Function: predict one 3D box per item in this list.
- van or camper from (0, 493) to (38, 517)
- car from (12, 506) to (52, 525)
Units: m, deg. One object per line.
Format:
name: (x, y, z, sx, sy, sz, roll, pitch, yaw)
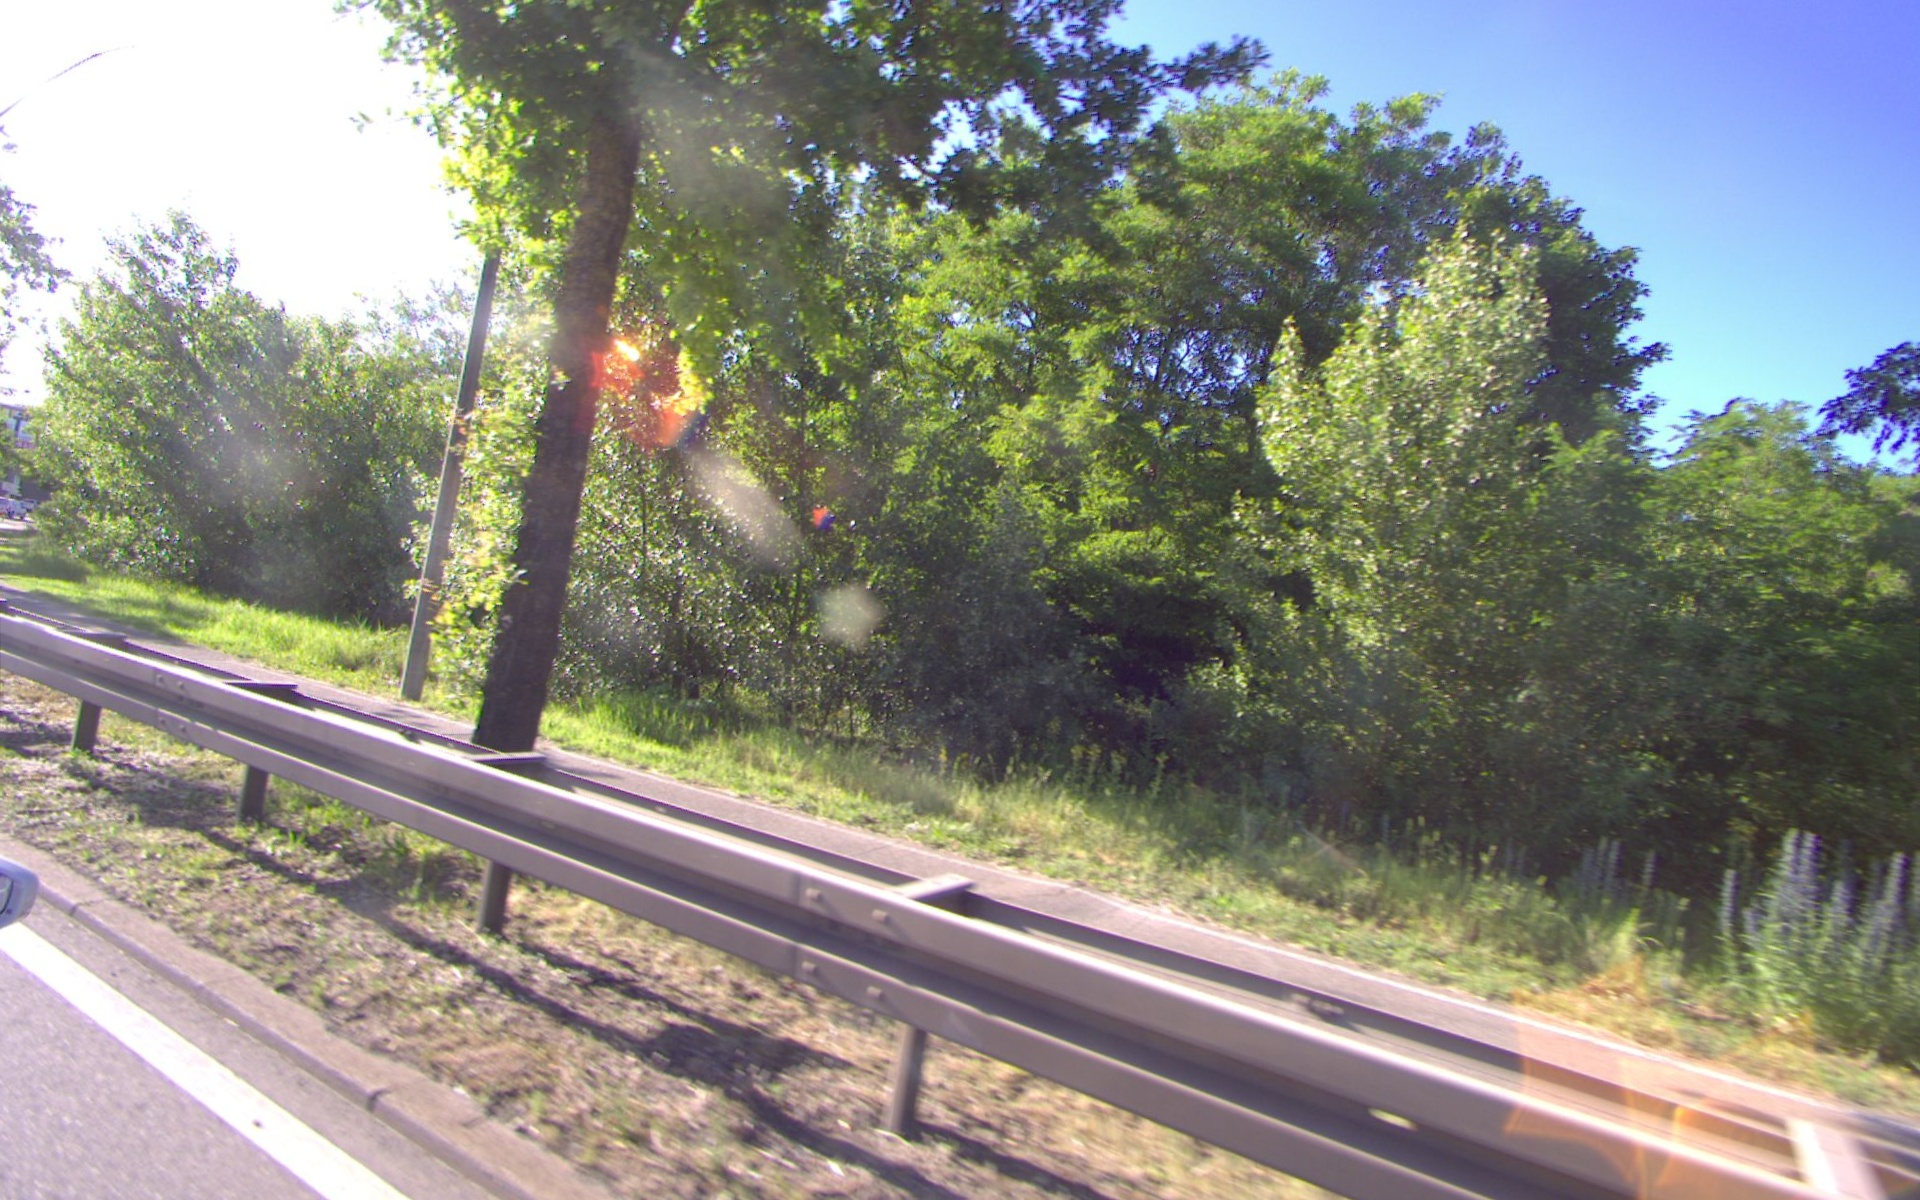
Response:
van or camper: (-93.396, -9.422, 99.083, 1.807, 1.809, 4.530, 12, -3, -17)
car: (-106.874, -9.746, 115.918, 1.689, 1.538, 3.732, 11, -2, -15)
